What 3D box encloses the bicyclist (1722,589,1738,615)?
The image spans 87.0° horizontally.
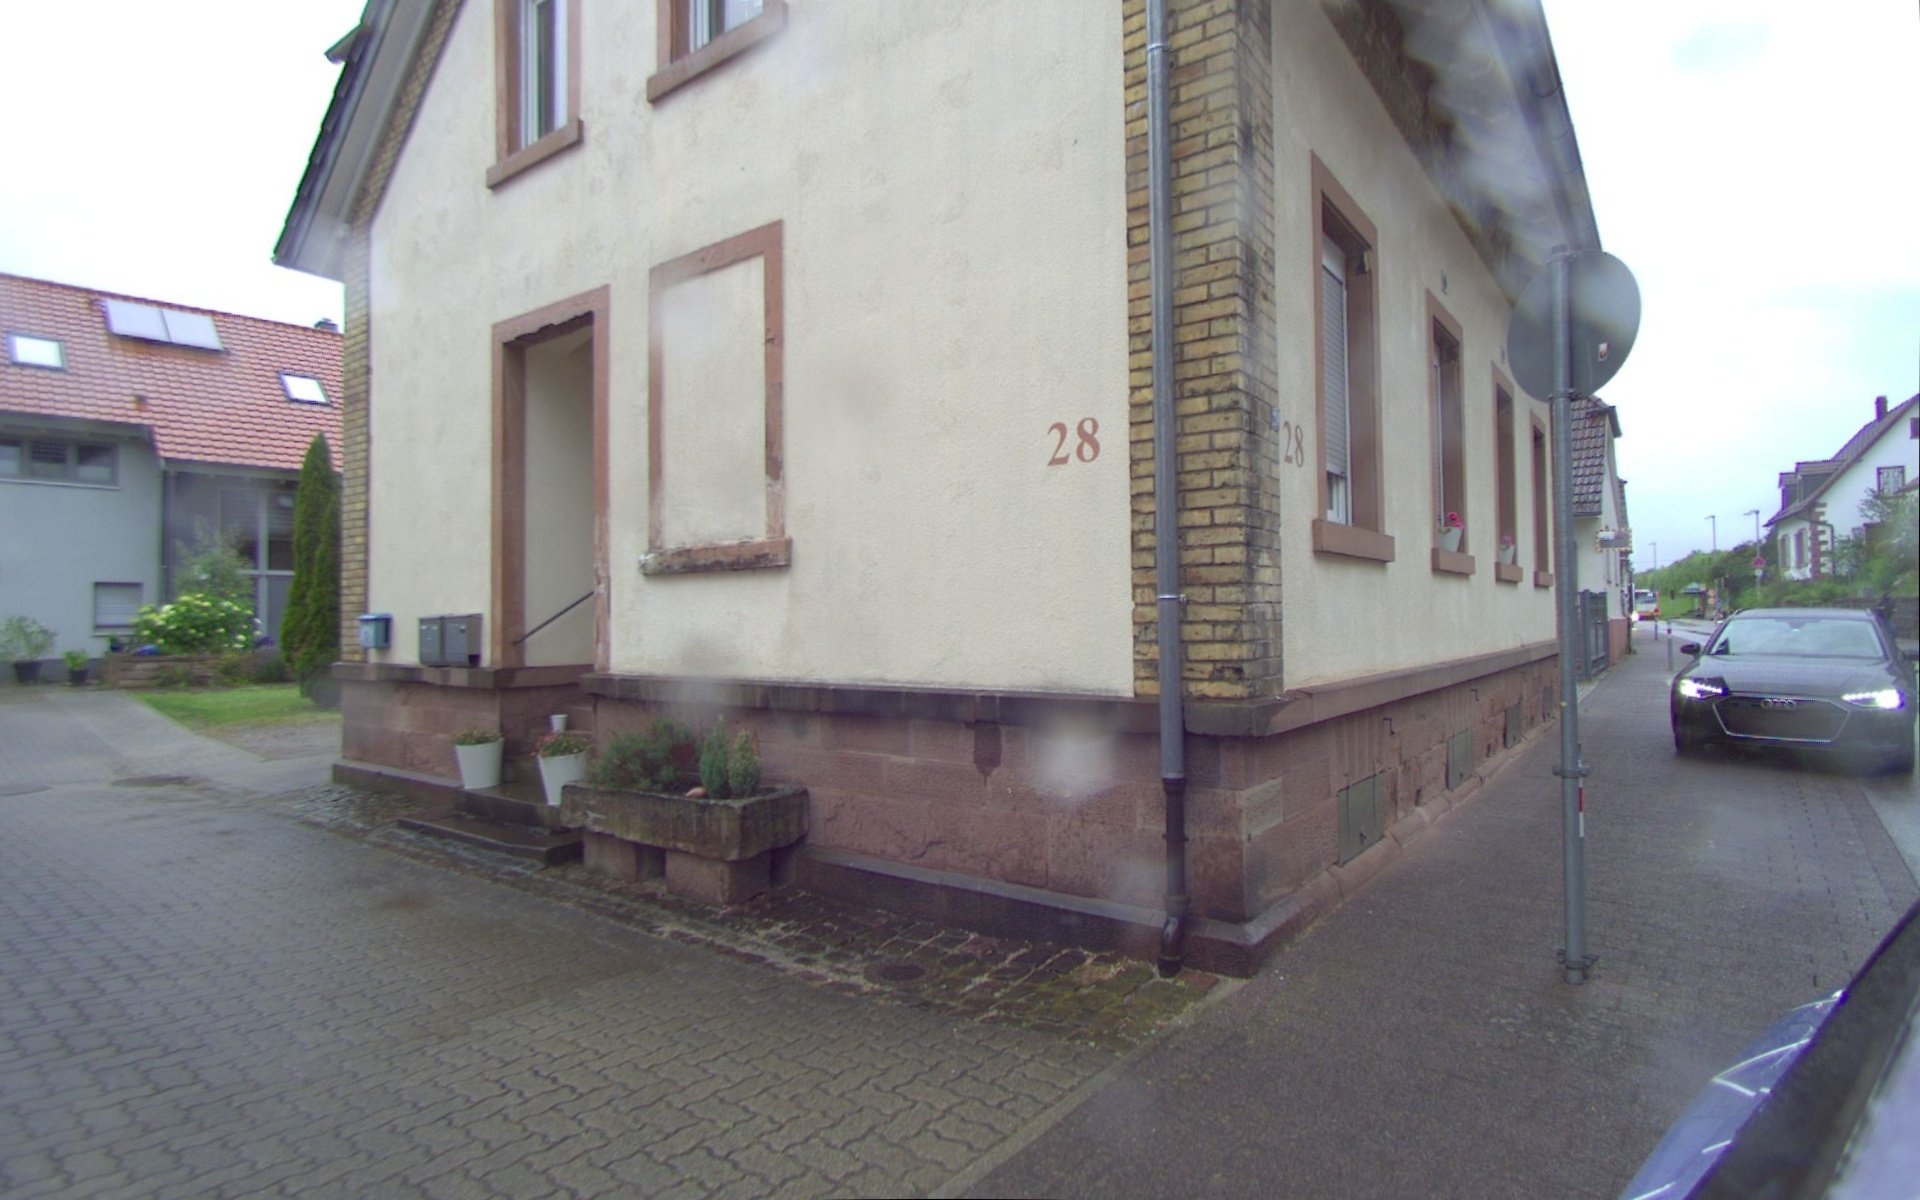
[{"bbox_3d":[53.649,0.165,70.530,0.652,1.793,0.696,-3,-4,27],"label":"bicyclist"}]

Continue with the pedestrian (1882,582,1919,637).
[{"bbox_3d":[30.833,0.307,33.178,0.690,1.754,0.812,-1,-1,30],"label":"pedestrian"}]

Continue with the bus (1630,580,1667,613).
[{"bbox_3d":[69.152,-0.300,101.718,2.795,2.977,11.795,-3,-2,34],"label":"bus"}]

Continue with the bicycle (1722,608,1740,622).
[{"bbox_3d":[53.675,1.037,70.471,0.657,0.882,1.915,-3,-4,27],"label":"bicycle"}]

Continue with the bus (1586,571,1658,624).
[{"bbox_3d":[48.142,-0.165,73.965,3.413,3.455,13.723,-2,-1,30],"label":"bus"}]

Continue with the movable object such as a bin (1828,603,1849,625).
[{"bbox_3d":[39.352,0.621,45.336,0.534,0.942,0.539,-3,-1,28],"label":"movable object such as a bin"}]

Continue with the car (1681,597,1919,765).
[{"bbox_3d":[8.814,0.723,10.323,1.774,1.374,4.122,-4,-4,43],"label":"car"}]
